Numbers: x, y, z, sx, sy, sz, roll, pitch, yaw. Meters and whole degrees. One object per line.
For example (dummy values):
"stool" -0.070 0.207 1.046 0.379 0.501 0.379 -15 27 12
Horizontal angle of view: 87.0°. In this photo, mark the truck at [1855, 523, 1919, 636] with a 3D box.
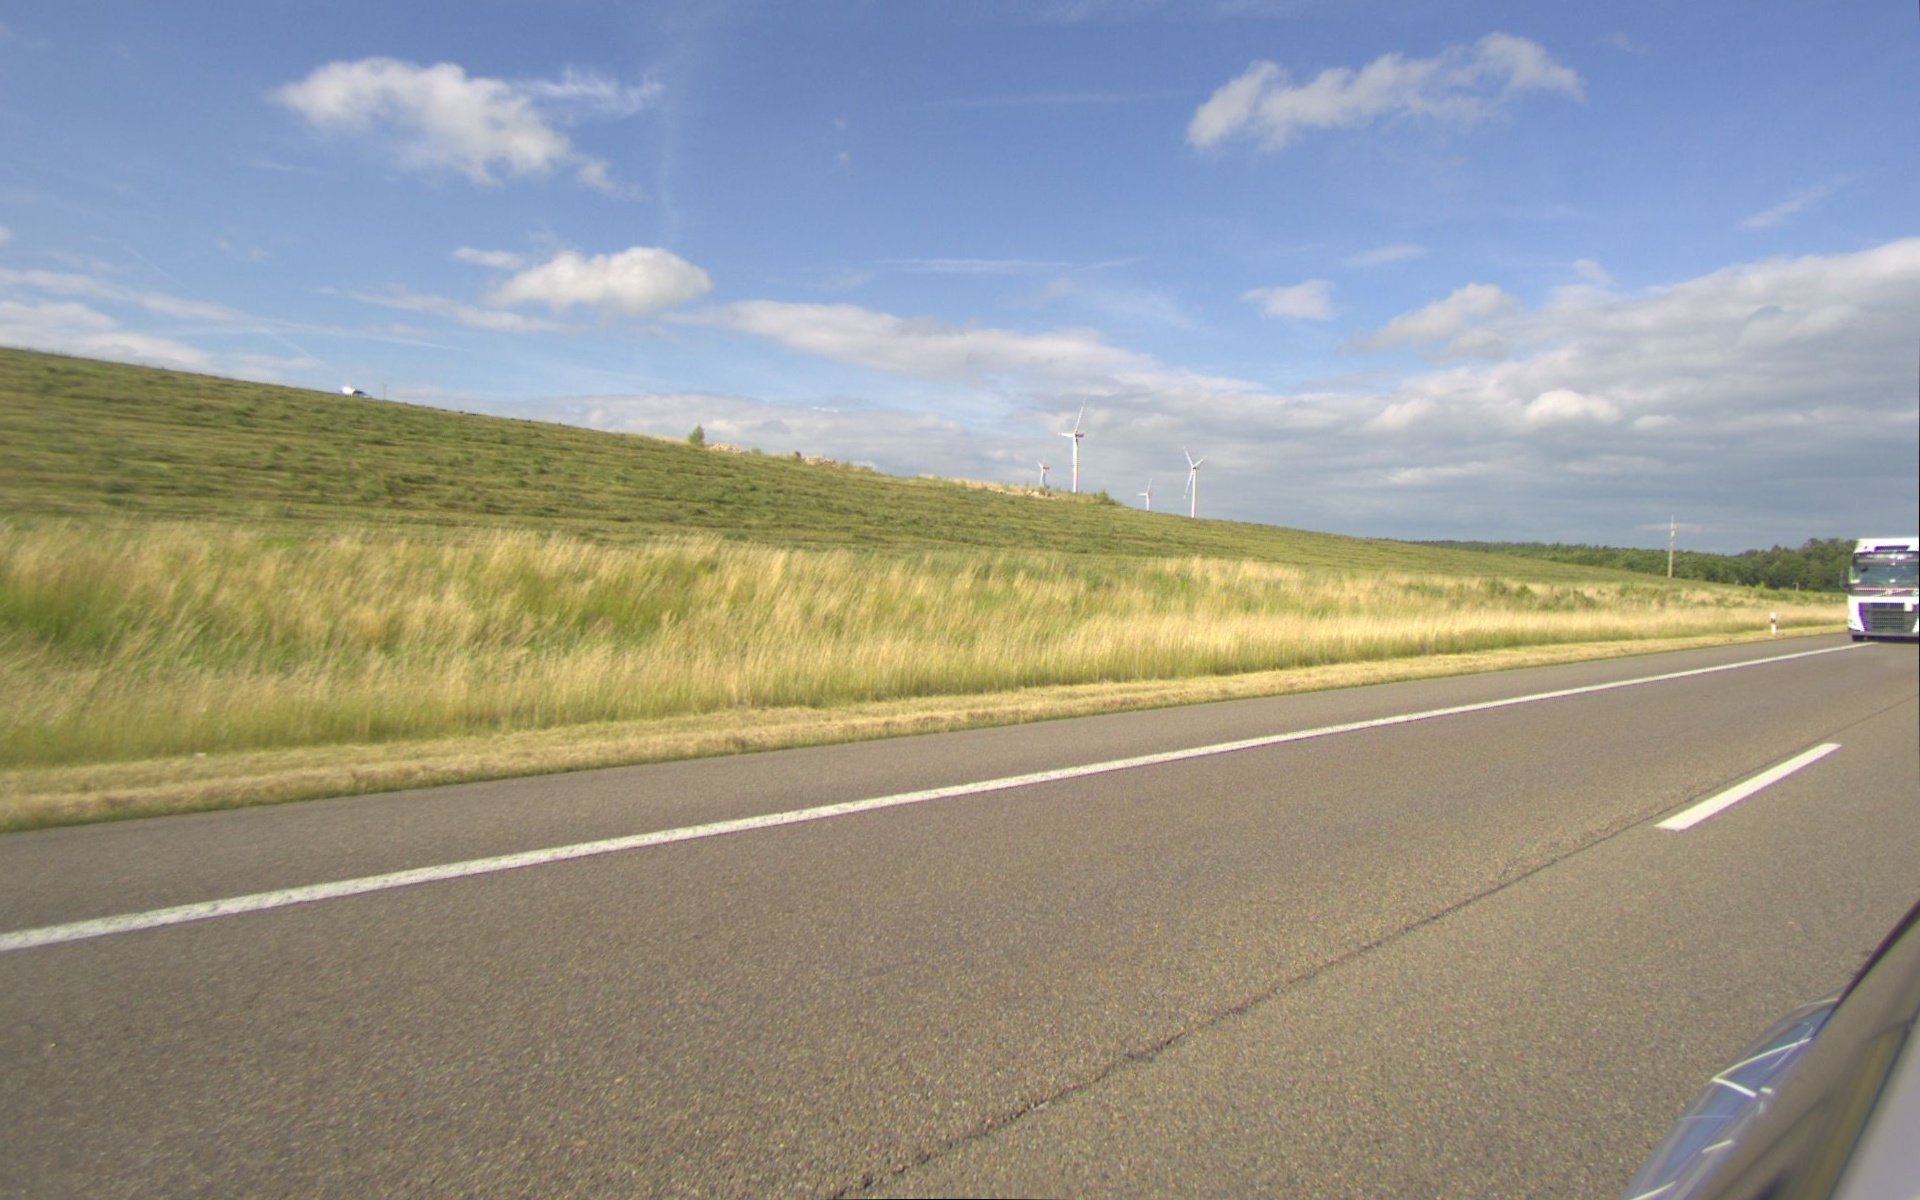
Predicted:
"truck" 36.766 -0.714 38.997 6.012 4.092 2.606 1 0 -41

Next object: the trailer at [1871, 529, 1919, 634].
"trailer" 42.319 -0.661 43.878 13.459 4.092 2.621 1 0 -41
